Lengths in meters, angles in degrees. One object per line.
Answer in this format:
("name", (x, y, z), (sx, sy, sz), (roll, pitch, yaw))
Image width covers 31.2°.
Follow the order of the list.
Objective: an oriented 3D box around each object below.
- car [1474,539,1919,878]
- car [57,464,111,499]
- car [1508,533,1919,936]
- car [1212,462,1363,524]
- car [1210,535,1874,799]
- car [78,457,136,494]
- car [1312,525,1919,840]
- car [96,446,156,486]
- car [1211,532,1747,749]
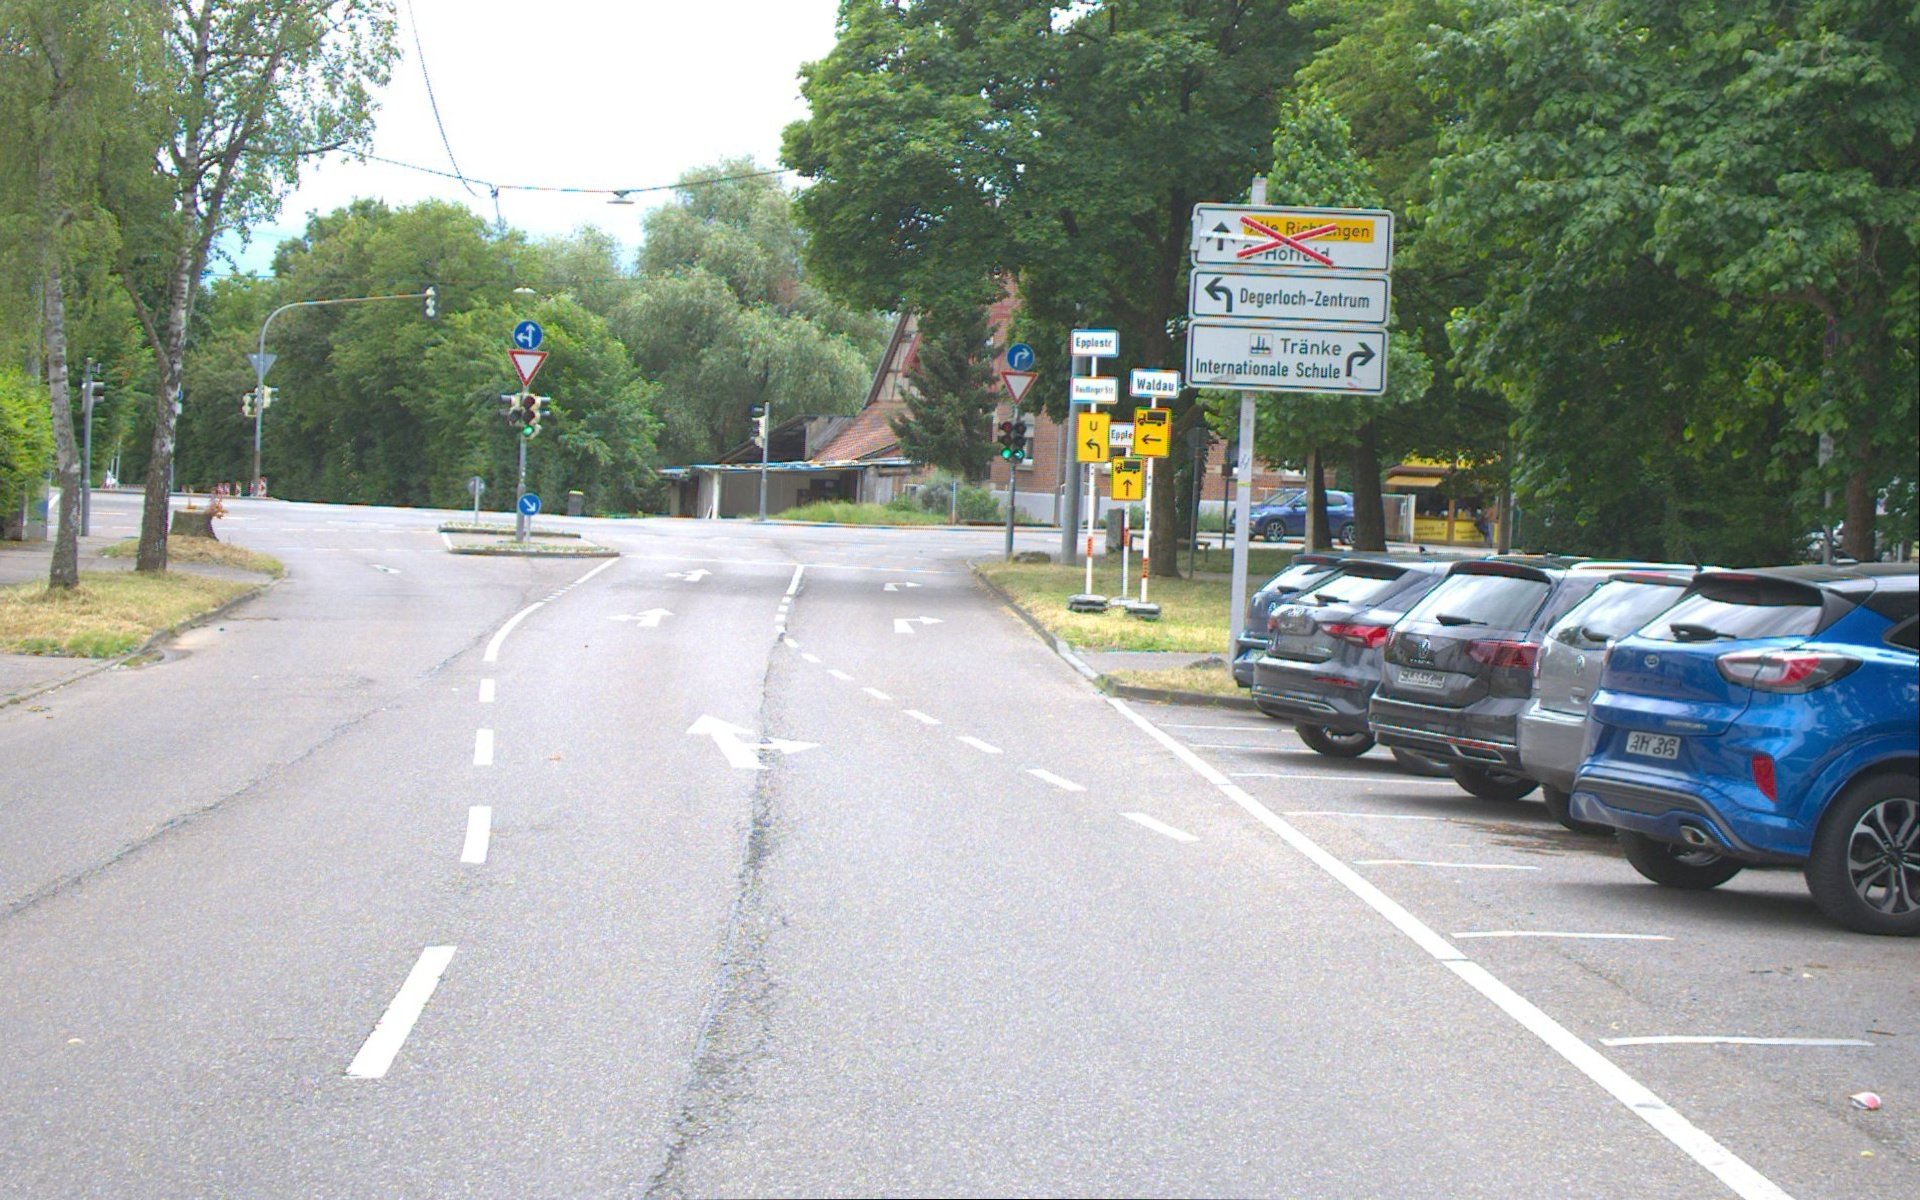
("car", (4.838, 0.608, 17.847), (3.817, 1.523, 1.747), (4, 0, -20))
("car", (-38.337, -5.198, 150.379), (1.794, 1.404, 4.002), (1, 2, -21))
("car", (4.547, 0.630, 14.917), (3.817, 1.523, 1.747), (4, 0, -20))
("car", (9.570, -3.132, 100.584), (3.844, 1.641, 2.001), (1, 2, -22))
("car", (3.862, 0.439, 22.928), (3.872, 1.421, 1.831), (4, 0, -20))
("car", (-35.423, -5.182, 142.731), (1.794, 1.404, 4.002), (1, 2, -21))
("car", (4.191, 0.490, 19.833), (3.817, 1.523, 1.747), (4, 0, -20))
("car", (-33.531, -5.403, 138.157), (1.794, 1.507, 4.002), (1, 2, -21))
("car", (4.177, 0.319, 27.776), (3.817, 1.420, 1.747), (4, 0, -20))
